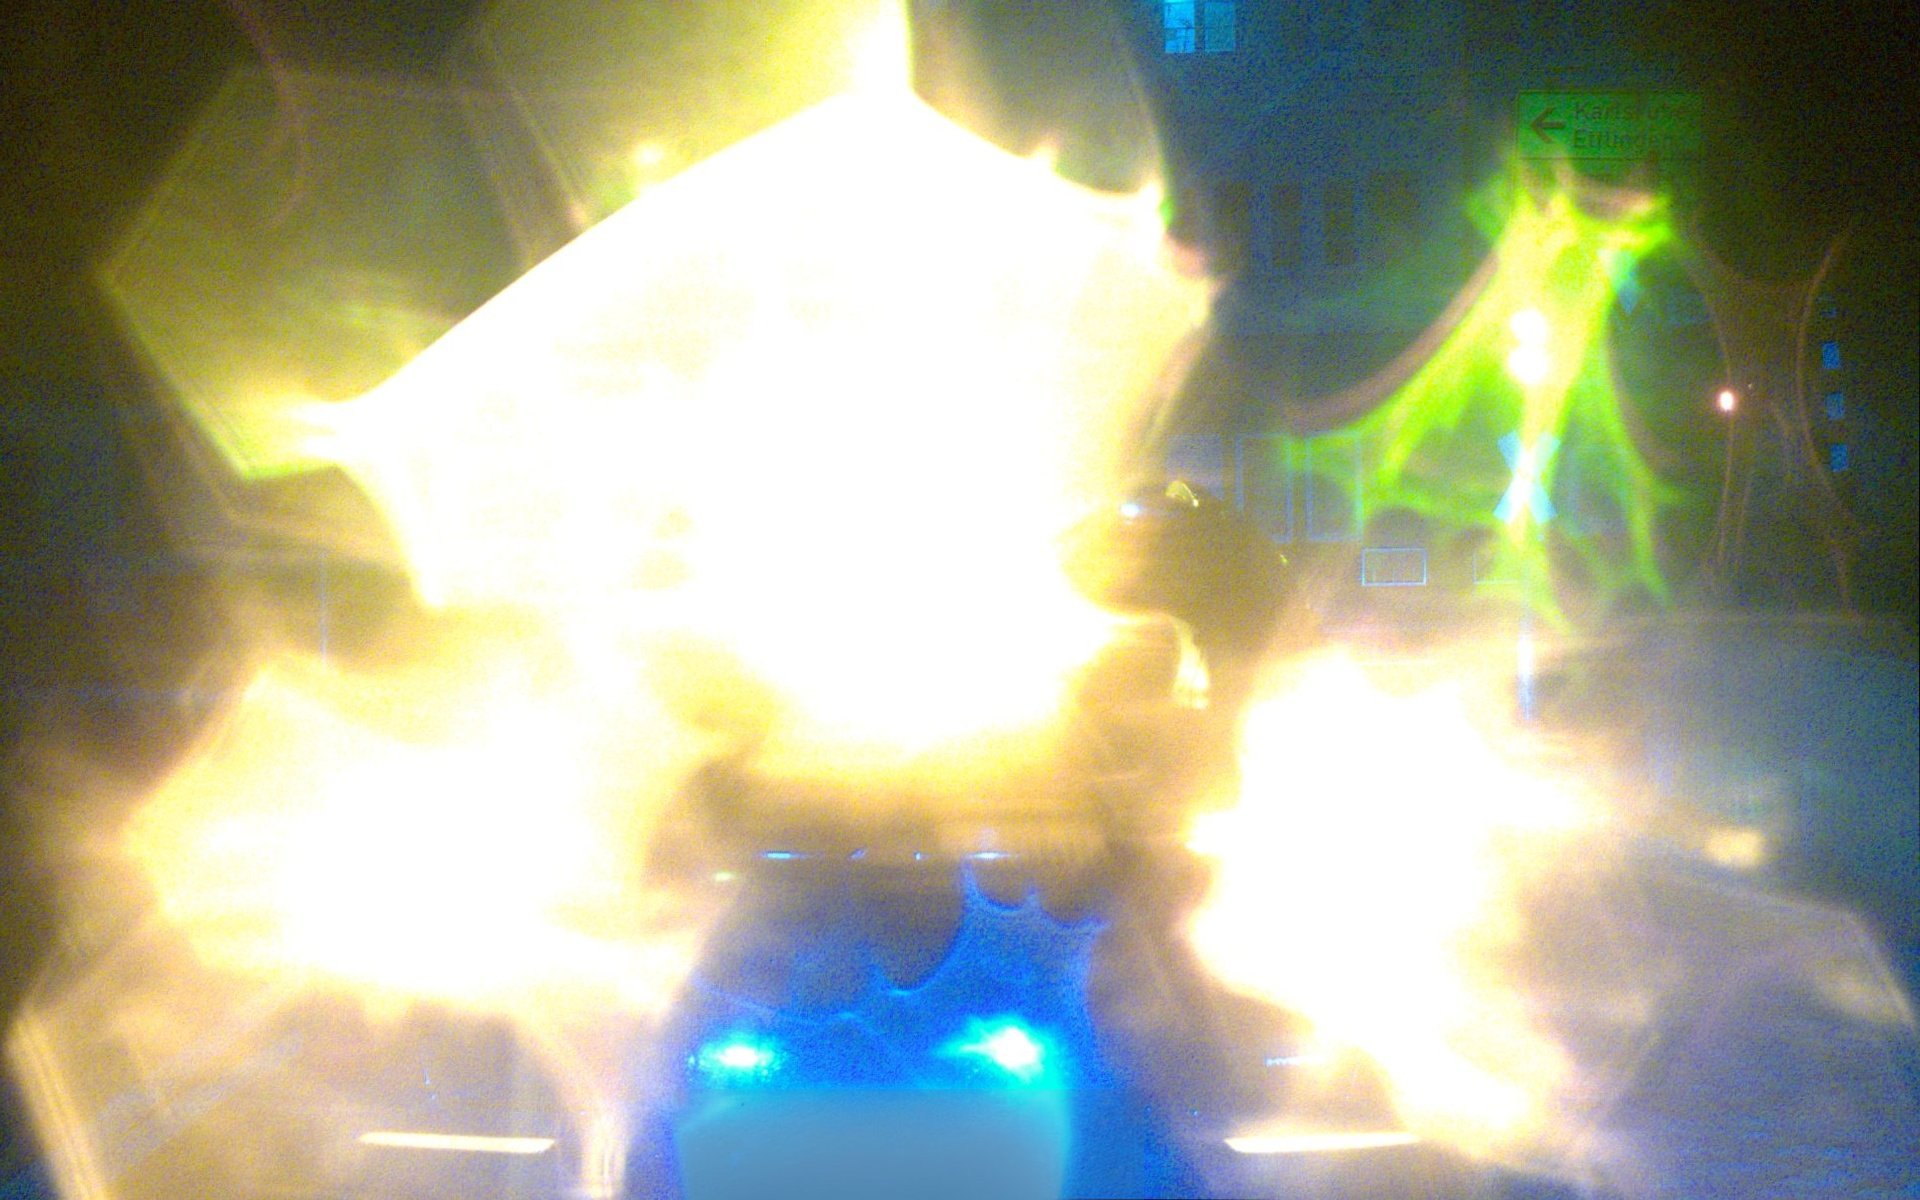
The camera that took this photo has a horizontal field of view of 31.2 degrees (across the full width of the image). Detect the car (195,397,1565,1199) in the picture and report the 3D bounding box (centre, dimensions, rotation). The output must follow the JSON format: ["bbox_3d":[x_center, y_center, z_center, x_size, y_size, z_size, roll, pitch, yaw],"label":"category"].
[{"bbox_3d":[-0.086,0.522,6.460,1.791,1.675,3.904,0,1,1],"label":"car"}]

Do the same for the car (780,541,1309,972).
[{"bbox_3d":[0.375,0.491,13.443,1.744,1.410,4.000,-1,1,3],"label":"car"}]
